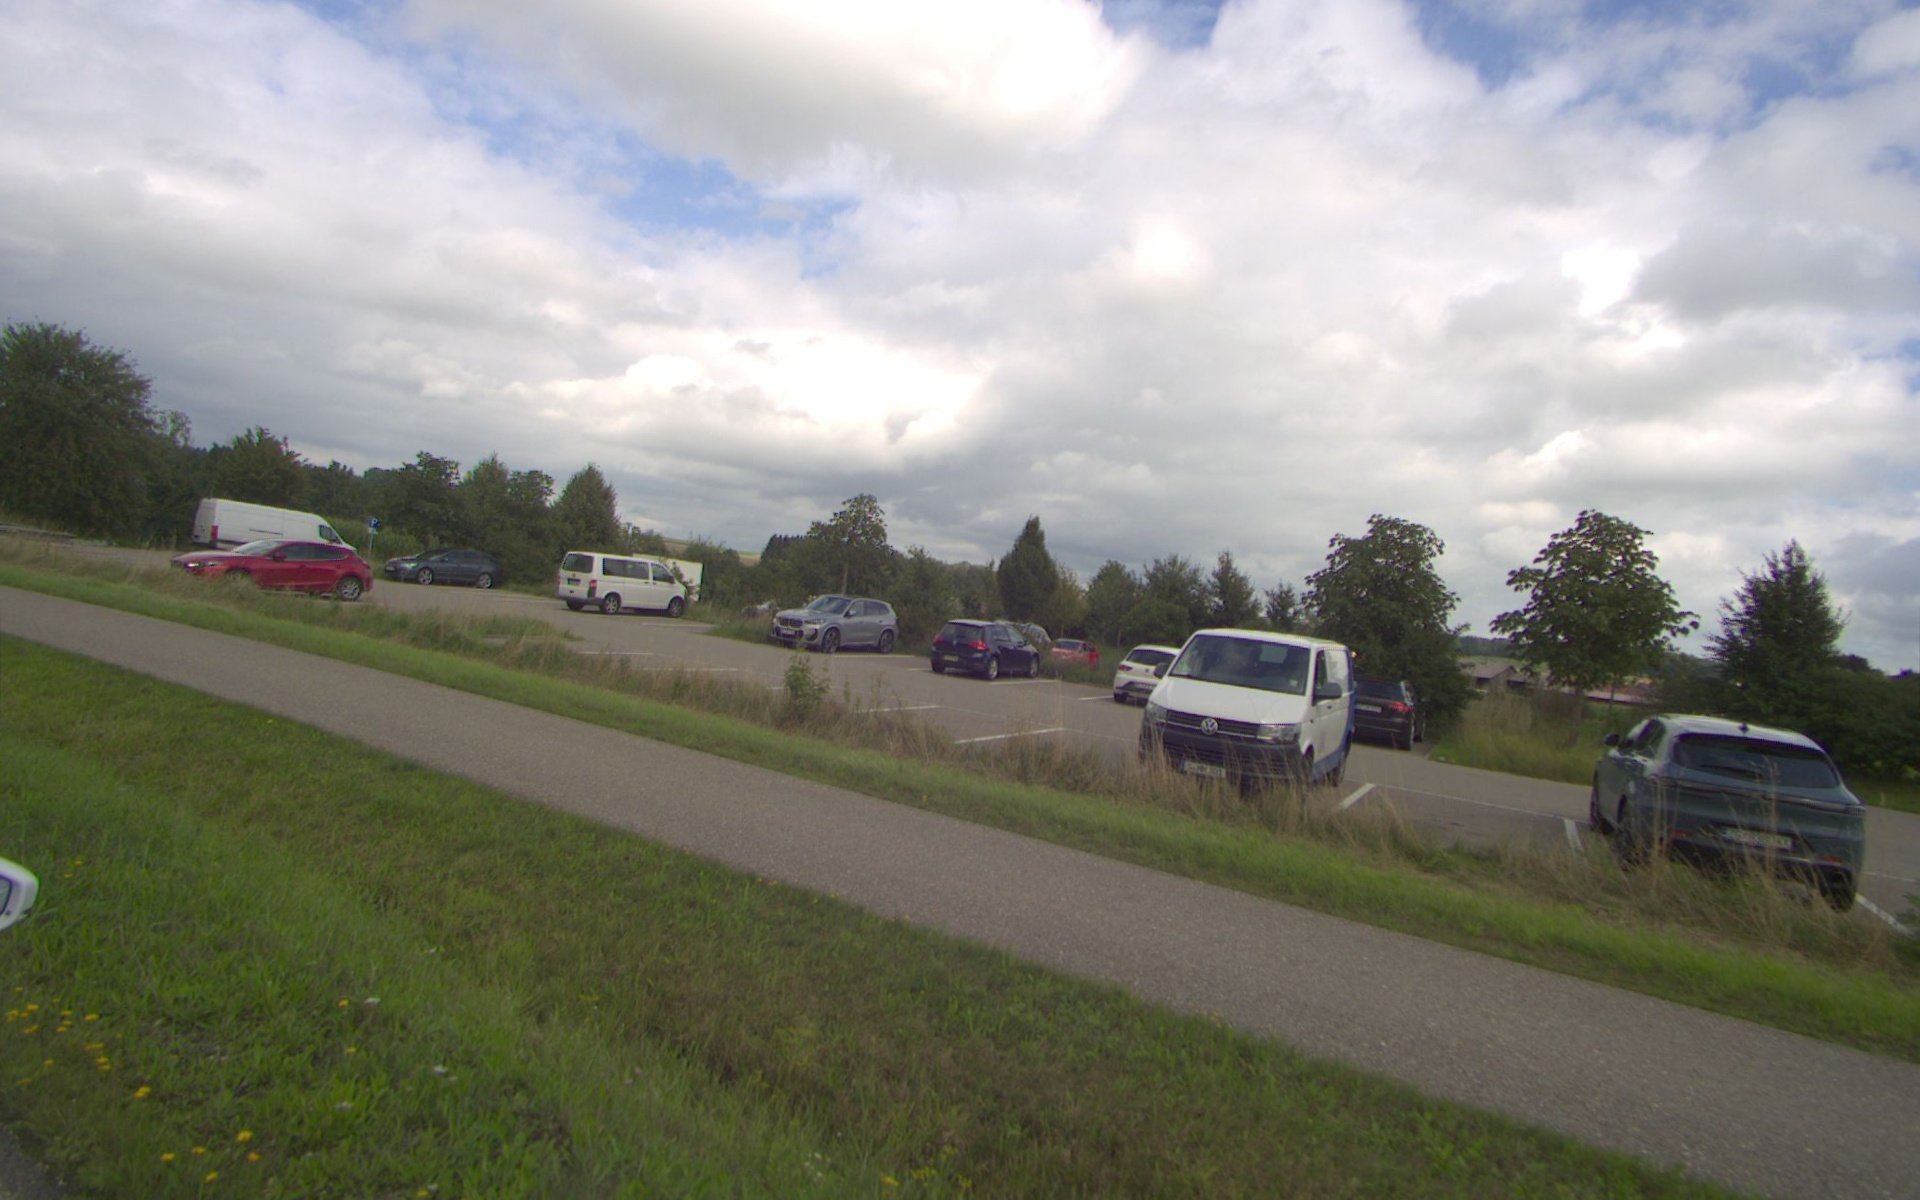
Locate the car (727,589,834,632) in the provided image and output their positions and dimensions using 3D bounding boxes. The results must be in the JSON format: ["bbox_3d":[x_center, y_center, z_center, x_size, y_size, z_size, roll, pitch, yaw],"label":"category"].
[{"bbox_3d":[-6.823,0.436,38.661,1.965,1.181,3.997,7,-1,27],"label":"car"}]

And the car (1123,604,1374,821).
[{"bbox_3d":[3.889,1.336,12.798,1.921,1.997,4.958,7,-1,28],"label":"car"}]

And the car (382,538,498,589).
[{"bbox_3d":[-20.374,-1.392,39.536,1.677,1.457,3.633,7,-1,30],"label":"car"}]

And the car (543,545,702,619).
[{"bbox_3d":[-11.618,-0.548,35.046,2.192,2.025,5.035,7,0,27],"label":"car"}]

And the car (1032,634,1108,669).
[{"bbox_3d":[4.926,2.319,44.549,1.965,1.181,3.997,7,-1,27],"label":"car"}]

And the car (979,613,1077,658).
[{"bbox_3d":[2.481,1.297,35.719,1.965,1.181,3.997,7,-1,27],"label":"car"}]

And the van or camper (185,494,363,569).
[{"bbox_3d":[-33.228,-3.259,49.030,2.015,2.592,6.754,7,-1,31],"label":"van or camper"}]

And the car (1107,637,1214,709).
[{"bbox_3d":[4.995,1.785,24.711,1.727,1.407,3.699,7,-1,23],"label":"car"}]

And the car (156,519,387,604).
[{"bbox_3d":[-17.280,-0.913,25.494,1.937,1.595,4.337,7,0,27],"label":"car"}]

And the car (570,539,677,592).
[{"bbox_3d":[-13.825,-1.399,41.573,1.963,1.615,4.001,7,-1,21],"label":"car"}]

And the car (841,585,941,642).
[{"bbox_3d":[-2.425,0.534,36.323,1.963,1.615,4.001,7,-1,21],"label":"car"}]

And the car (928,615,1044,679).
[{"bbox_3d":[0.773,1.296,26.863,1.727,1.407,3.699,7,-1,23],"label":"car"}]

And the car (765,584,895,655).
[{"bbox_3d":[-3.694,0.613,29.200,1.730,1.626,3.694,7,-1,30],"label":"car"}]

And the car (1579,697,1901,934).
[{"bbox_3d":[7.924,2.021,10.701,1.806,1.586,4.279,7,0,28],"label":"car"}]

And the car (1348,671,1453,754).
[{"bbox_3d":[9.607,2.382,21.797,1.700,1.407,3.696,7,-1,28],"label":"car"}]

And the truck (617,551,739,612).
[{"bbox_3d":[-16.920,-1.052,60.879,2.783,2.747,6.894,7,-1,30],"label":"truck"}]
